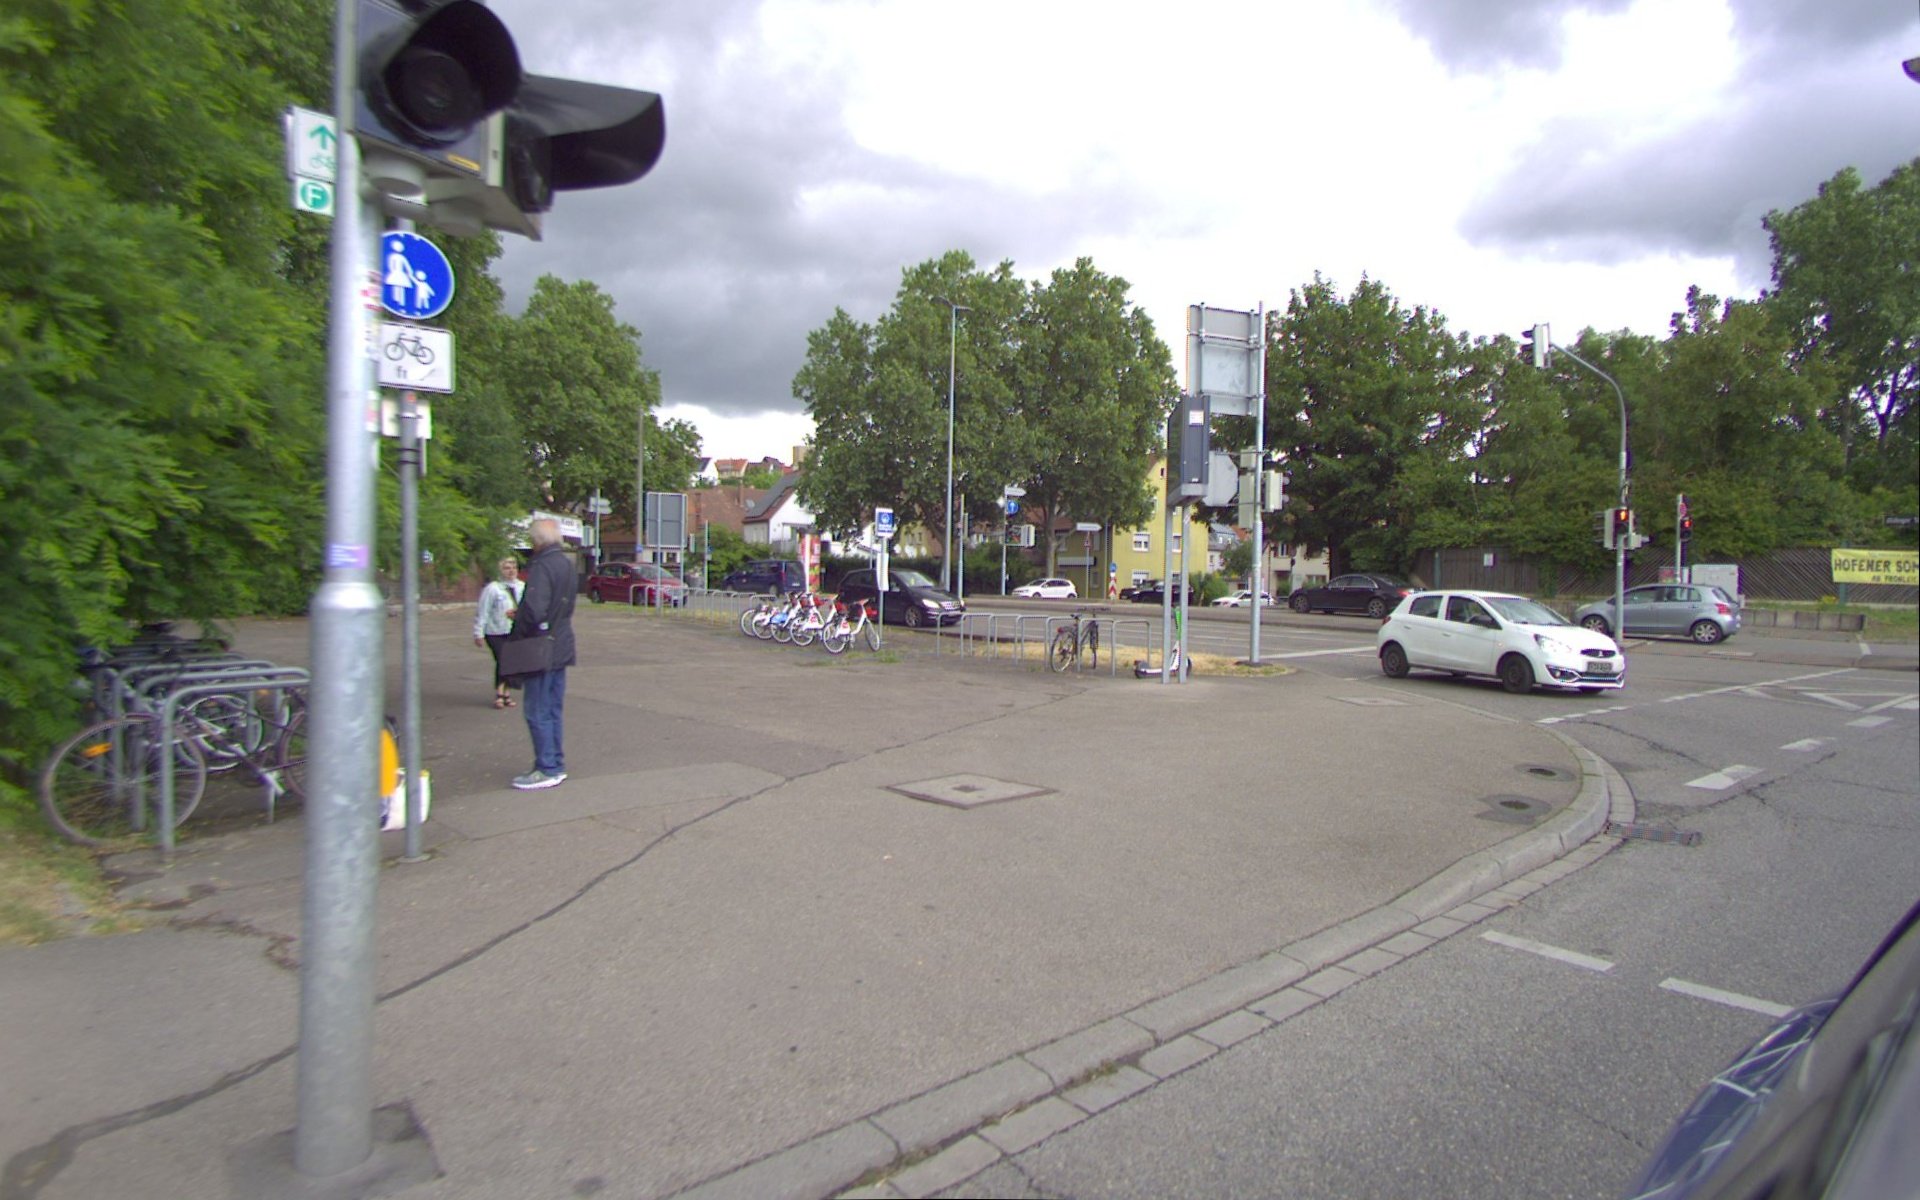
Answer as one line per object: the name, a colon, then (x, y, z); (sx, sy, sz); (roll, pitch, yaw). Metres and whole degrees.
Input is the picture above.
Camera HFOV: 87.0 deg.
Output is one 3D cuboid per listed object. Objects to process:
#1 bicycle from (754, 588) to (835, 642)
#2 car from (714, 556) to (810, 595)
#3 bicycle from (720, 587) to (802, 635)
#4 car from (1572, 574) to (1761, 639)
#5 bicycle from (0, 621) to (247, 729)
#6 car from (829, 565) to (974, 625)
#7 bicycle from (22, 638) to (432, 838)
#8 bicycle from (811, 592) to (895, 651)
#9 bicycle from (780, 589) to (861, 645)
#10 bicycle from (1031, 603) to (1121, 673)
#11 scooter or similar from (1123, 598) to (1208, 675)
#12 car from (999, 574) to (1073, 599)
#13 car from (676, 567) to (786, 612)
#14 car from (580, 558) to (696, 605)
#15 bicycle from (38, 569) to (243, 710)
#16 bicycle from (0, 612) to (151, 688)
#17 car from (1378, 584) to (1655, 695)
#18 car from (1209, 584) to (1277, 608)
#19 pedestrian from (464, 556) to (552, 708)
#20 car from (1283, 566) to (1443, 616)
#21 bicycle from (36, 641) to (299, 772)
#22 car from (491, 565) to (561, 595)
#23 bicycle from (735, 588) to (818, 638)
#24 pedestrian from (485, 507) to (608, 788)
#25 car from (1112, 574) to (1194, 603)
bicycle: (-3.682, 0.313, 22.606); (0.580, 1.129, 1.787); (4, 4, 42)
car: (-9.389, -1.170, 47.898); (4.440, 1.727, 1.811); (2, 1, 31)
bicycle: (-4.660, 0.239, 23.781); (1.852, 1.064, 0.597); (-1, 3, -43)
car: (18.457, 0.109, 26.551); (1.649, 1.506, 3.781); (0, 3, -43)
bicycle: (-7.621, 0.647, 9.289); (0.476, 0.867, 1.711); (0, 0, 44)
car: (-1.723, -0.204, 28.992); (4.169, 1.550, 1.697); (2, 4, 41)
bicycle: (-4.125, 0.712, 5.845); (0.522, 0.917, 1.825); (3, 1, 39)
bicycle: (-2.215, 0.426, 21.080); (0.580, 1.129, 1.787); (4, 4, 42)
bicycle: (-3.032, 0.356, 22.179); (0.580, 1.129, 1.787); (4, 4, 42)
bicycle: (1.921, 0.590, 16.579); (0.606, 1.058, 1.675); (2, 2, 42)
scooter or similar: (3.187, 0.546, 15.698); (1.209, 1.126, 0.654); (0, 1, -38)
car: (4.183, -0.765, 55.874); (3.728, 1.337, 1.814); (0, 1, -32)
car: (-7.835, -0.399, 34.573); (3.621, 1.450, 1.772); (1, 1, 37)
car: (-11.969, -0.728, 37.535); (4.483, 1.637, 1.872); (2, 2, 37)
bicycle: (-8.688, 0.385, 10.777); (0.644, 1.389, 1.631); (0, 0, 44)
bicycle: (-11.043, 0.593, 12.465); (0.476, 0.867, 1.631); (0, 0, 44)
car: (8.493, 0.515, 15.797); (1.639, 1.466, 3.613); (0, 2, -19)
car: (17.516, -0.246, 62.622); (3.798, 1.415, 1.667); (0, 2, -21)
pedestrian: (-4.820, 0.313, 10.782); (0.659, 1.532, 0.755); (0, 3, -41)
car: (13.932, -0.387, 35.295); (1.796, 1.468, 4.998); (-1, 4, -34)
bicycle: (-5.826, 0.743, 7.504); (0.476, 0.818, 1.490); (0, 0, 44)
car: (-22.712, -1.056, 52.926); (3.556, 1.447, 1.653); (3, 3, 33)
bicycle: (-4.202, 0.282, 23.273); (1.852, 1.064, 0.597); (-1, 3, -43)
pedestrian: (-2.761, 0.295, 6.795); (0.414, 1.776, 0.685); (0, 0, 20)
car: (11.400, -0.661, 59.738); (4.497, 1.673, 1.815); (0, 1, -25)
